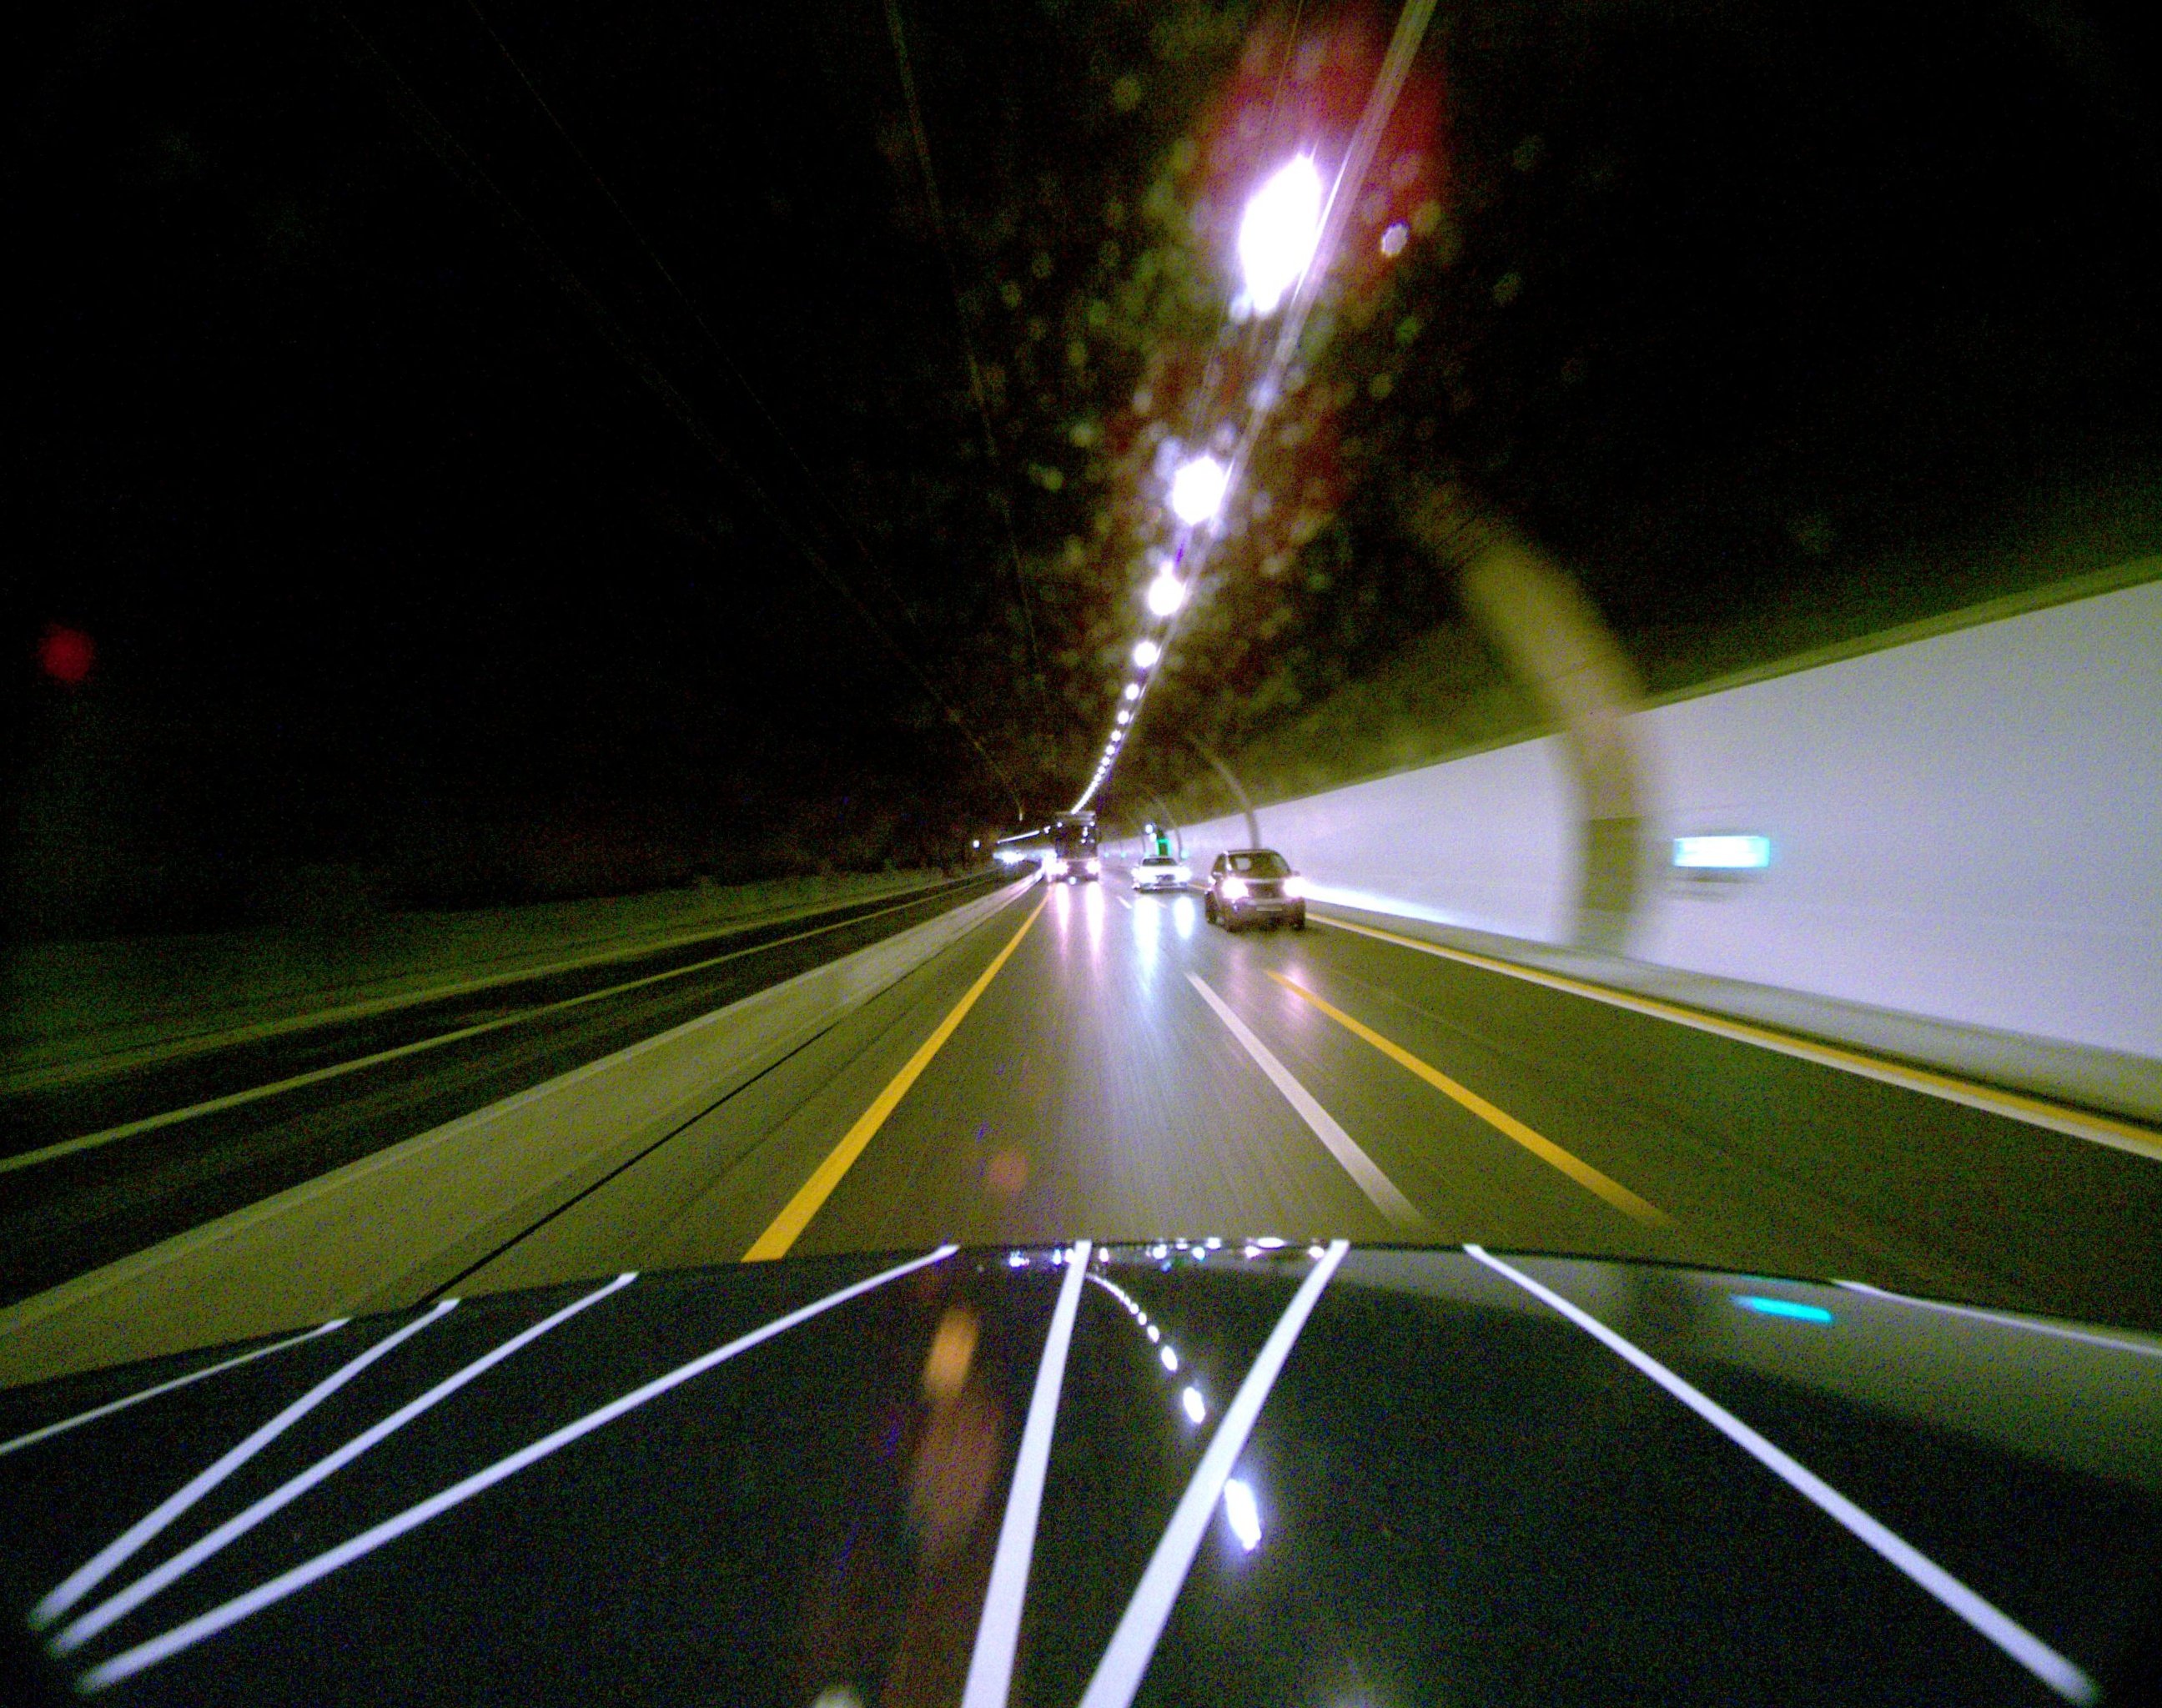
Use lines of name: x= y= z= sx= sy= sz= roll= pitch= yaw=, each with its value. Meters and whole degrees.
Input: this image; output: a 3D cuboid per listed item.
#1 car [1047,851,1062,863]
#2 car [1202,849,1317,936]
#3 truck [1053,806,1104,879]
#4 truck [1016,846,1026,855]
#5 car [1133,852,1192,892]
car: x=-3.946 y=0.431 z=111.677 sx=1.999 sy=1.524 sz=3.998 roll=-2 pitch=0 yaw=-5
car: x=3.420 y=0.691 z=14.989 sx=1.531 sy=1.508 sz=2.651 roll=-2 pitch=0 yaw=-2
truck: x=-0.196 y=-0.668 z=47.501 sx=2.742 sy=4.127 sz=8.099 roll=-2 pitch=0 yaw=-1
truck: x=-18.510 y=-1.021 z=233.309 sx=2.611 sy=2.723 sz=6.392 roll=-2 pitch=1 yaw=-9
car: x=3.166 y=0.656 z=30.259 sx=1.909 sy=1.412 sz=4.060 roll=-2 pitch=0 yaw=1
